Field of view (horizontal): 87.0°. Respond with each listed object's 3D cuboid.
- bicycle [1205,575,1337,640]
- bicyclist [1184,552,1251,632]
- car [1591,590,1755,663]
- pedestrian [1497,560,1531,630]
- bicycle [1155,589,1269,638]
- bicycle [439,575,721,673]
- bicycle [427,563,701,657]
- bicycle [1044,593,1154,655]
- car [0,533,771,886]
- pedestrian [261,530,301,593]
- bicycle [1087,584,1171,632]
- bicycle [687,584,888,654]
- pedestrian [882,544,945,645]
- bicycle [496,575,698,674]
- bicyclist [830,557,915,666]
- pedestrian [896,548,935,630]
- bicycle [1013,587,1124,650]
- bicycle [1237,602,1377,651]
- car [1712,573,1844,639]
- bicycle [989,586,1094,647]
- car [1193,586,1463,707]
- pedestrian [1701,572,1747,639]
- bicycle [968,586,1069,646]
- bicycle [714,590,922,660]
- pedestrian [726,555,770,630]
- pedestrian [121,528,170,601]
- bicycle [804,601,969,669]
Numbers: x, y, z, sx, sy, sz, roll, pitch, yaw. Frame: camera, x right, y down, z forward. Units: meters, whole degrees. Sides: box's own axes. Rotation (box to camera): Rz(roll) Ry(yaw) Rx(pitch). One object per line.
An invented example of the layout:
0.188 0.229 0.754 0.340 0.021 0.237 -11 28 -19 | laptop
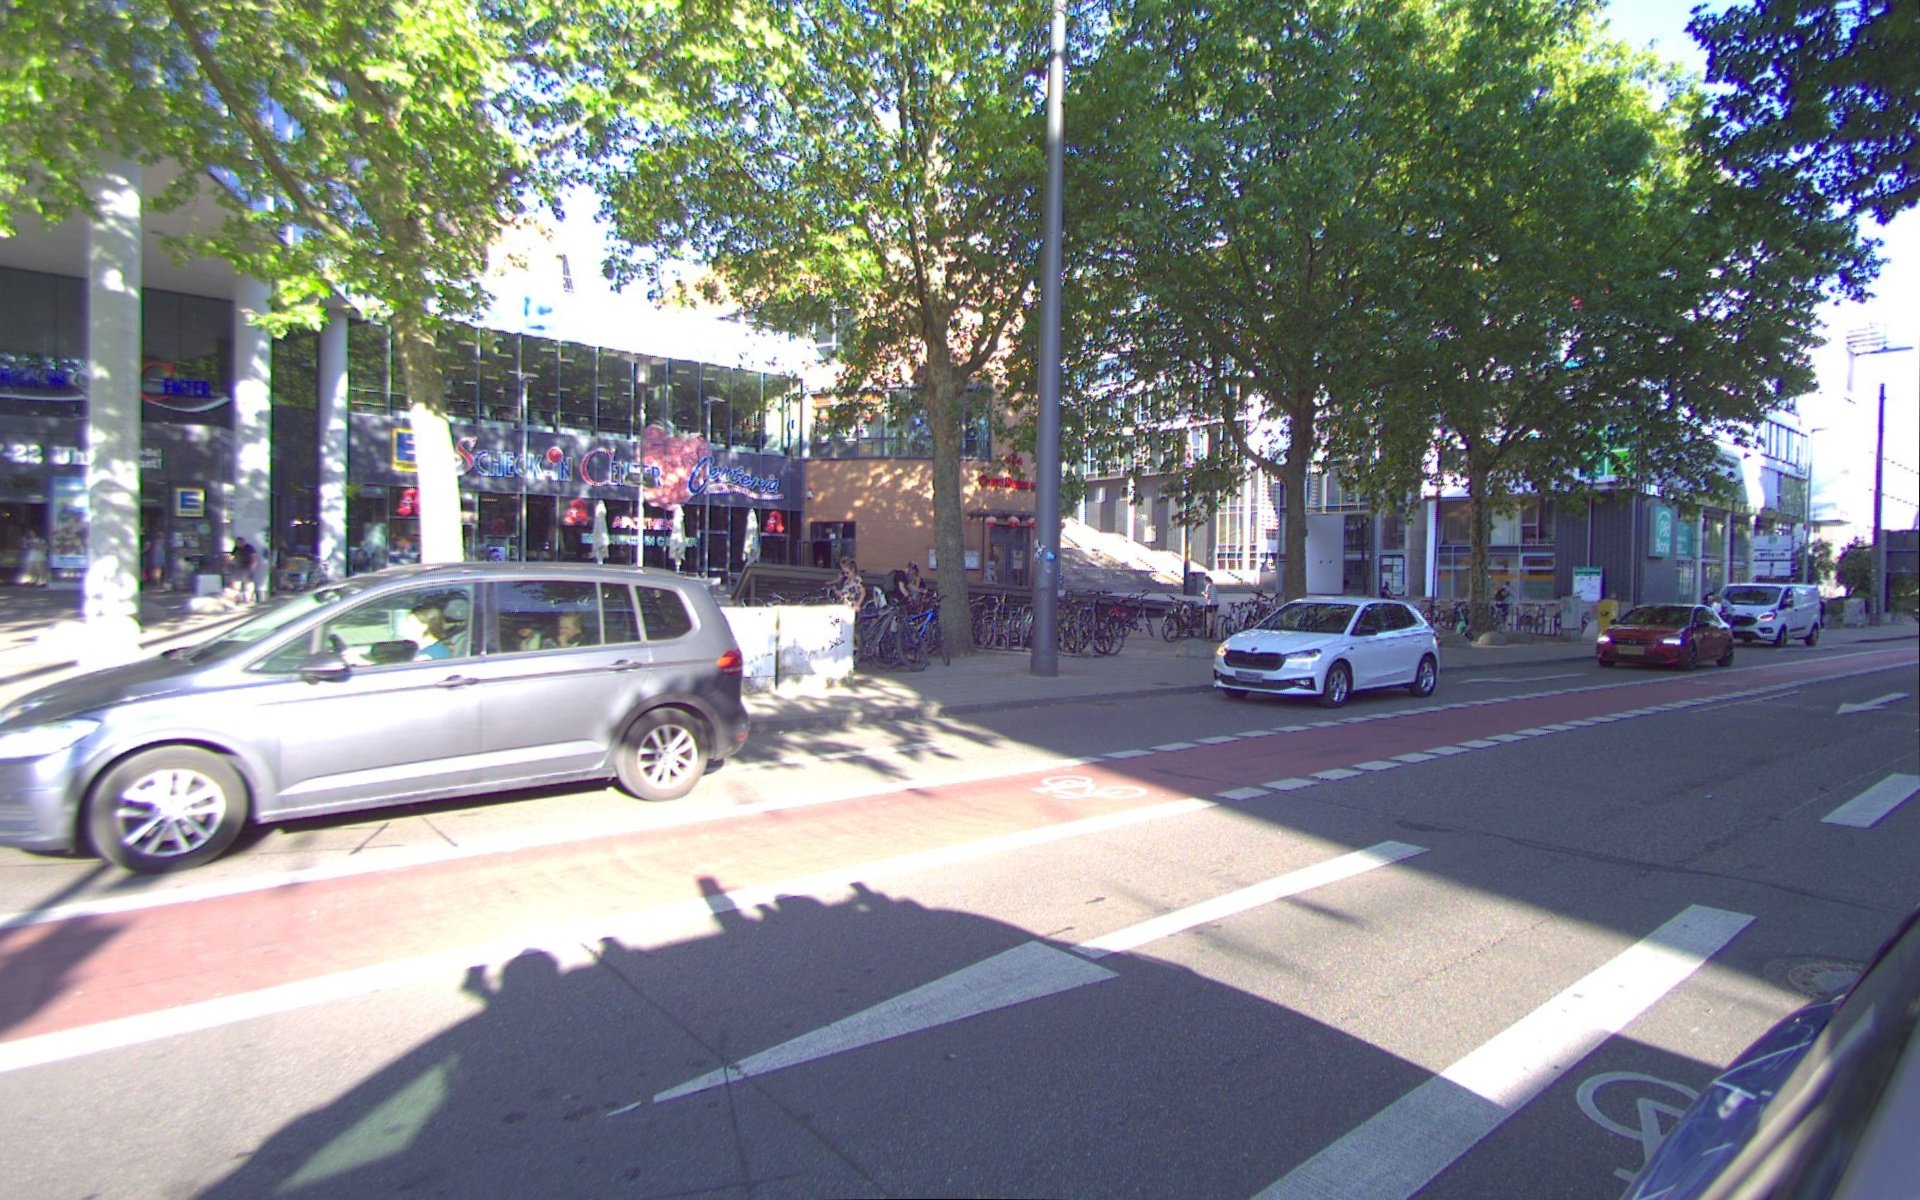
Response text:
7.568 0.157 24.622 3.156 1.503 0.896 0 1 -19 | bicycle
6.747 -0.227 26.582 1.132 2.038 1.301 -1 1 -24 | bicyclist
15.989 0.539 22.642 4.117 1.508 1.836 0 0 -37 | car
21.484 -0.188 39.245 0.967 2.681 0.897 0 0 18 | pedestrian
6.625 0.319 26.863 1.124 1.097 3.342 0 2 -23 | bicycle
-5.399 0.286 14.677 3.744 1.236 0.758 -2 1 -35 | bicycle
-5.870 0.197 15.287 3.743 1.236 0.729 4 -2 -35 | bicycle
2.650 0.420 19.114 2.296 1.073 0.682 -1 2 -39 | bicycle
-3.572 0.493 6.738 4.315 1.656 1.708 0 1 -42 | car
-19.404 -1.087 28.932 0.820 1.765 0.647 1 1 -22 | pedestrian
4.572 0.197 27.170 2.653 1.215 0.698 -1 1 -41 | bicycle
-2.929 0.271 17.541 3.353 1.013 1.051 -1 6 -41 | bicycle
-0.964 -0.131 21.178 0.922 2.038 1.085 1 1 24 | pedestrian
-4.984 0.290 14.020 2.504 1.236 0.758 -2 1 -35 | bicycle
-1.378 0.158 15.913 1.005 1.640 0.902 -1 0 -41 | bicyclist
-1.259 -0.312 28.440 0.884 2.261 0.845 -1 0 -19 | pedestrian
2.156 0.333 19.922 2.355 1.176 0.750 -1 0 -40 | bicycle
8.097 0.596 23.602 3.136 1.038 0.979 -1 0 -18 | bicycle
26.568 0.162 32.800 5.808 1.989 1.934 0 1 -37 | car
1.678 0.310 20.559 2.263 1.176 0.671 -1 0 -38 | bicycle
5.419 0.567 14.686 4.120 1.508 1.835 0 1 -39 | car
23.605 0.164 31.275 0.959 2.039 0.816 1 -1 -31 | pedestrian
1.248 0.310 21.160 2.251 1.176 0.657 -1 0 -38 | bicycle
-2.255 0.365 16.573 3.353 1.014 1.050 -1 1 -41 | bicycle
-6.536 -0.230 31.289 1.195 2.276 1.052 0 0 -3 | pedestrian
-23.341 -1.011 29.007 0.815 2.039 0.827 -1 0 -16 | pedestrian
-1.129 0.516 16.115 2.591 0.960 0.924 -1 1 -41 | bicycle
